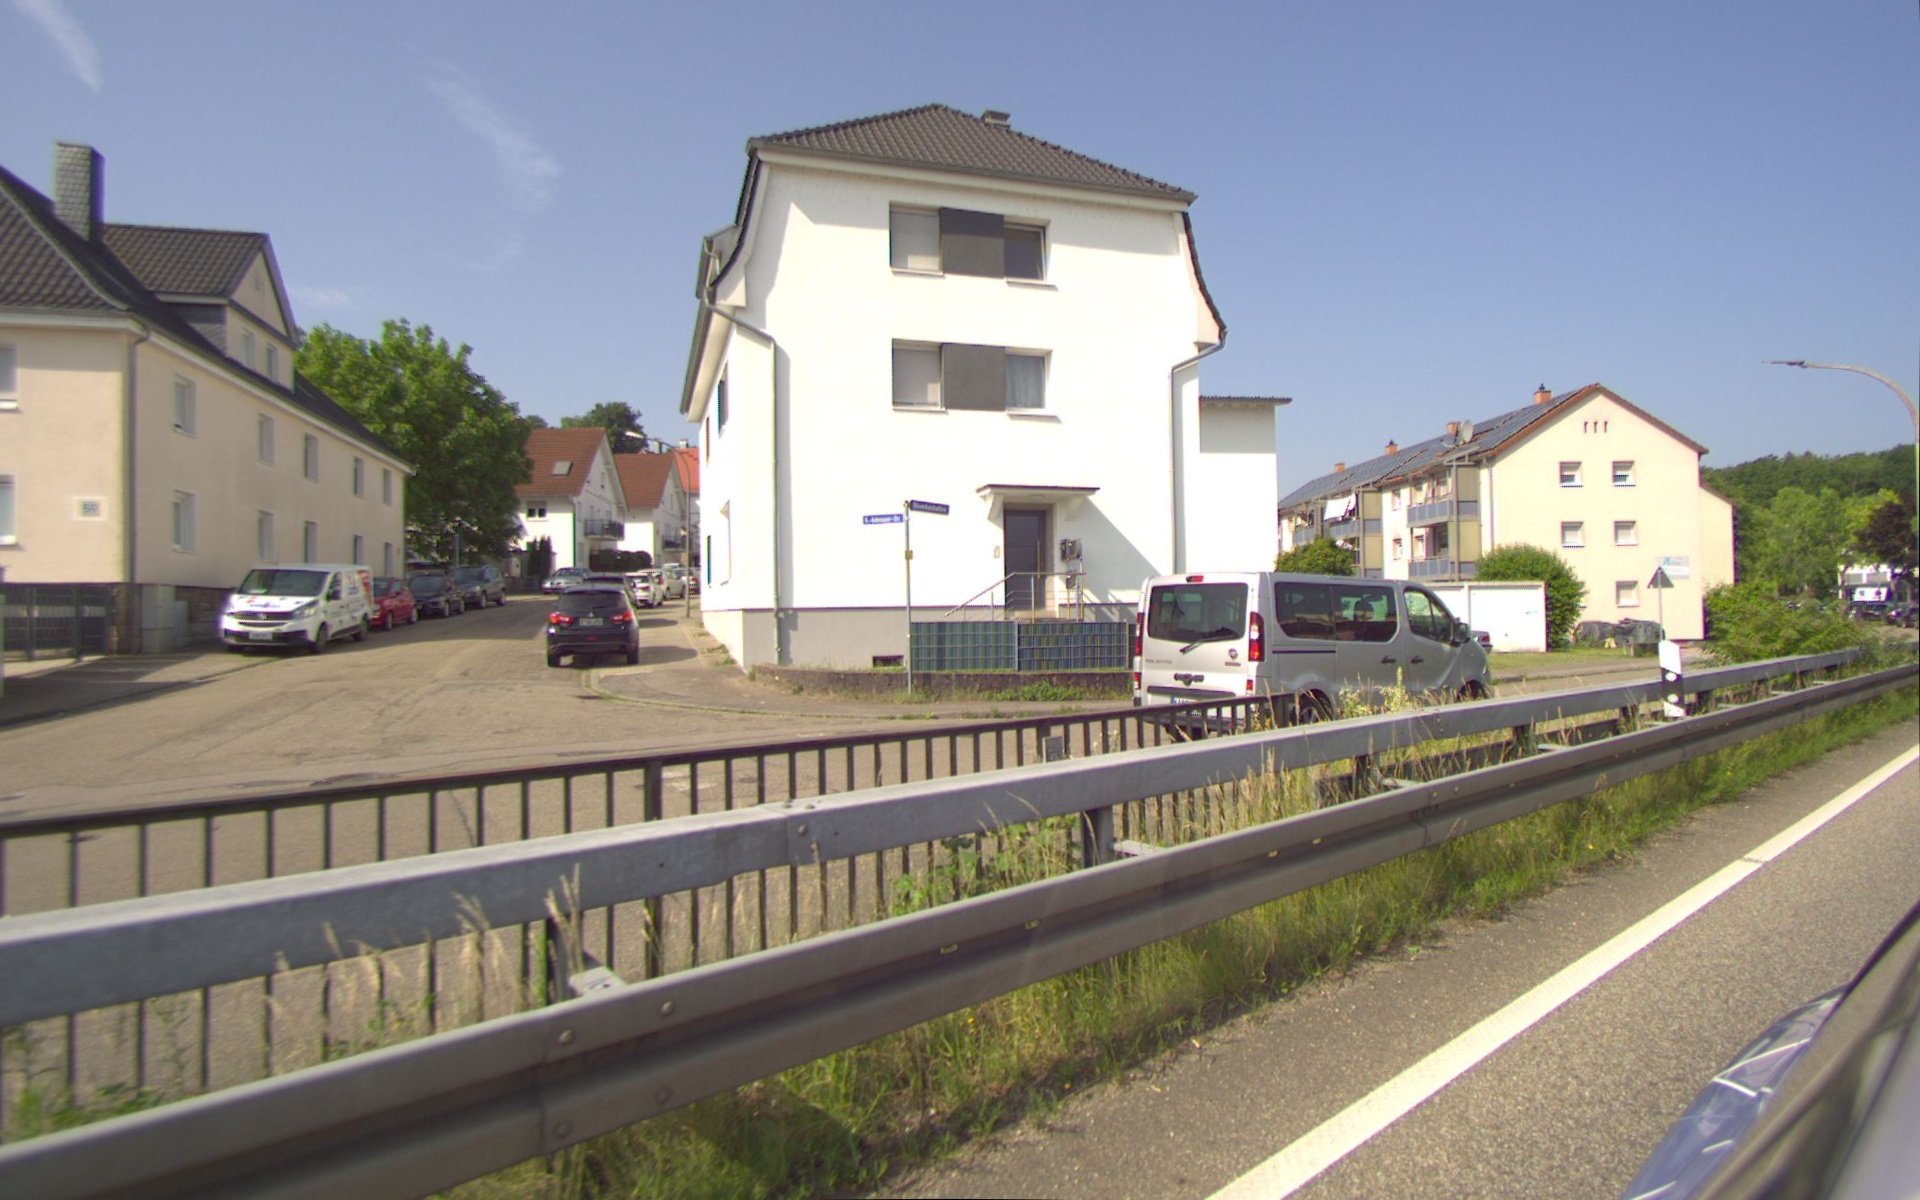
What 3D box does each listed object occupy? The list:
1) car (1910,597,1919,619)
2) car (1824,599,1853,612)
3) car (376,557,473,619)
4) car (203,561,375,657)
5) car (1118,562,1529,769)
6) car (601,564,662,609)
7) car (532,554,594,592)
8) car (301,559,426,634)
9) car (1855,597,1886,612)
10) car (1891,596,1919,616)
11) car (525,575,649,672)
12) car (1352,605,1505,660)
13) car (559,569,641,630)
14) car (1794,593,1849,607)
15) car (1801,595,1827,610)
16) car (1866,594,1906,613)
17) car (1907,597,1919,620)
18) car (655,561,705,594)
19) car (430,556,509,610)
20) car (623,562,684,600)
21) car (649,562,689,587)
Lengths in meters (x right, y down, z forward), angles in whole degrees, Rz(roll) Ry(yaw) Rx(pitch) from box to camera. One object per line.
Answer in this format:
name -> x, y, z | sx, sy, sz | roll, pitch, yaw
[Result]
car -> 66.193, 0.545, 68.921 | 1.699, 1.423, 3.615 | 0, 1, 36
car -> 86.028, 0.500, 99.152 | 1.582, 1.201, 3.621 | 0, 1, 32
car -> -18.507, -0.494, 35.224 | 1.919, 2.008, 4.852 | 0, 3, -15
car -> -15.760, 0.094, 24.099 | 1.919, 2.008, 4.852 | 0, 3, -15
car -> 4.464, 0.621, 12.020 | 5.260, 1.969, 1.999 | 0, 0, -36
car -> -13.368, -0.605, 41.379 | 1.919, 1.684, 4.009 | 0, 3, -11
car -> -21.554, -1.521, 55.159 | 1.920, 2.008, 4.848 | 0, 3, -6
car -> -17.591, -0.199, 30.118 | 1.919, 2.008, 4.852 | 0, 3, -15
car -> 79.581, 0.364, 88.491 | 1.584, 1.201, 3.615 | 0, 1, 36
car -> 71.295, 0.425, 75.986 | 1.646, 1.383, 3.615 | 0, 1, 36
car -> -7.876, 0.396, 21.741 | 1.959, 1.683, 4.010 | -3, 3, -13
car -> 13.633, 0.908, 29.794 | 1.719, 1.365, 4.619 | 1, 1, -10
car -> -10.986, -0.094, 31.159 | 1.958, 1.684, 4.010 | 0, 3, -13
car -> 102.871, -0.041, 120.949 | 4.715, 1.608, 1.910 | 0, 1, 32
car -> 88.234, 0.236, 104.636 | 1.776, 1.493, 3.936 | 0, 1, 36
car -> 75.983, 0.270, 83.048 | 1.903, 1.423, 4.466 | 0, 1, 36
car -> 65.105, 0.570, 67.917 | 1.699, 1.423, 4.426 | 0, 1, 36
car -> -14.725, -1.222, 53.442 | 1.920, 1.684, 4.007 | 0, 3, -6
car -> -19.470, -0.753, 40.387 | 1.919, 2.008, 4.852 | 0, 3, -15
car -> -14.409, -0.938, 47.810 | 1.921, 1.684, 4.005 | 0, 3, -4
car -> -20.425, -1.835, 71.245 | 1.921, 1.684, 4.005 | 0, 3, -4
